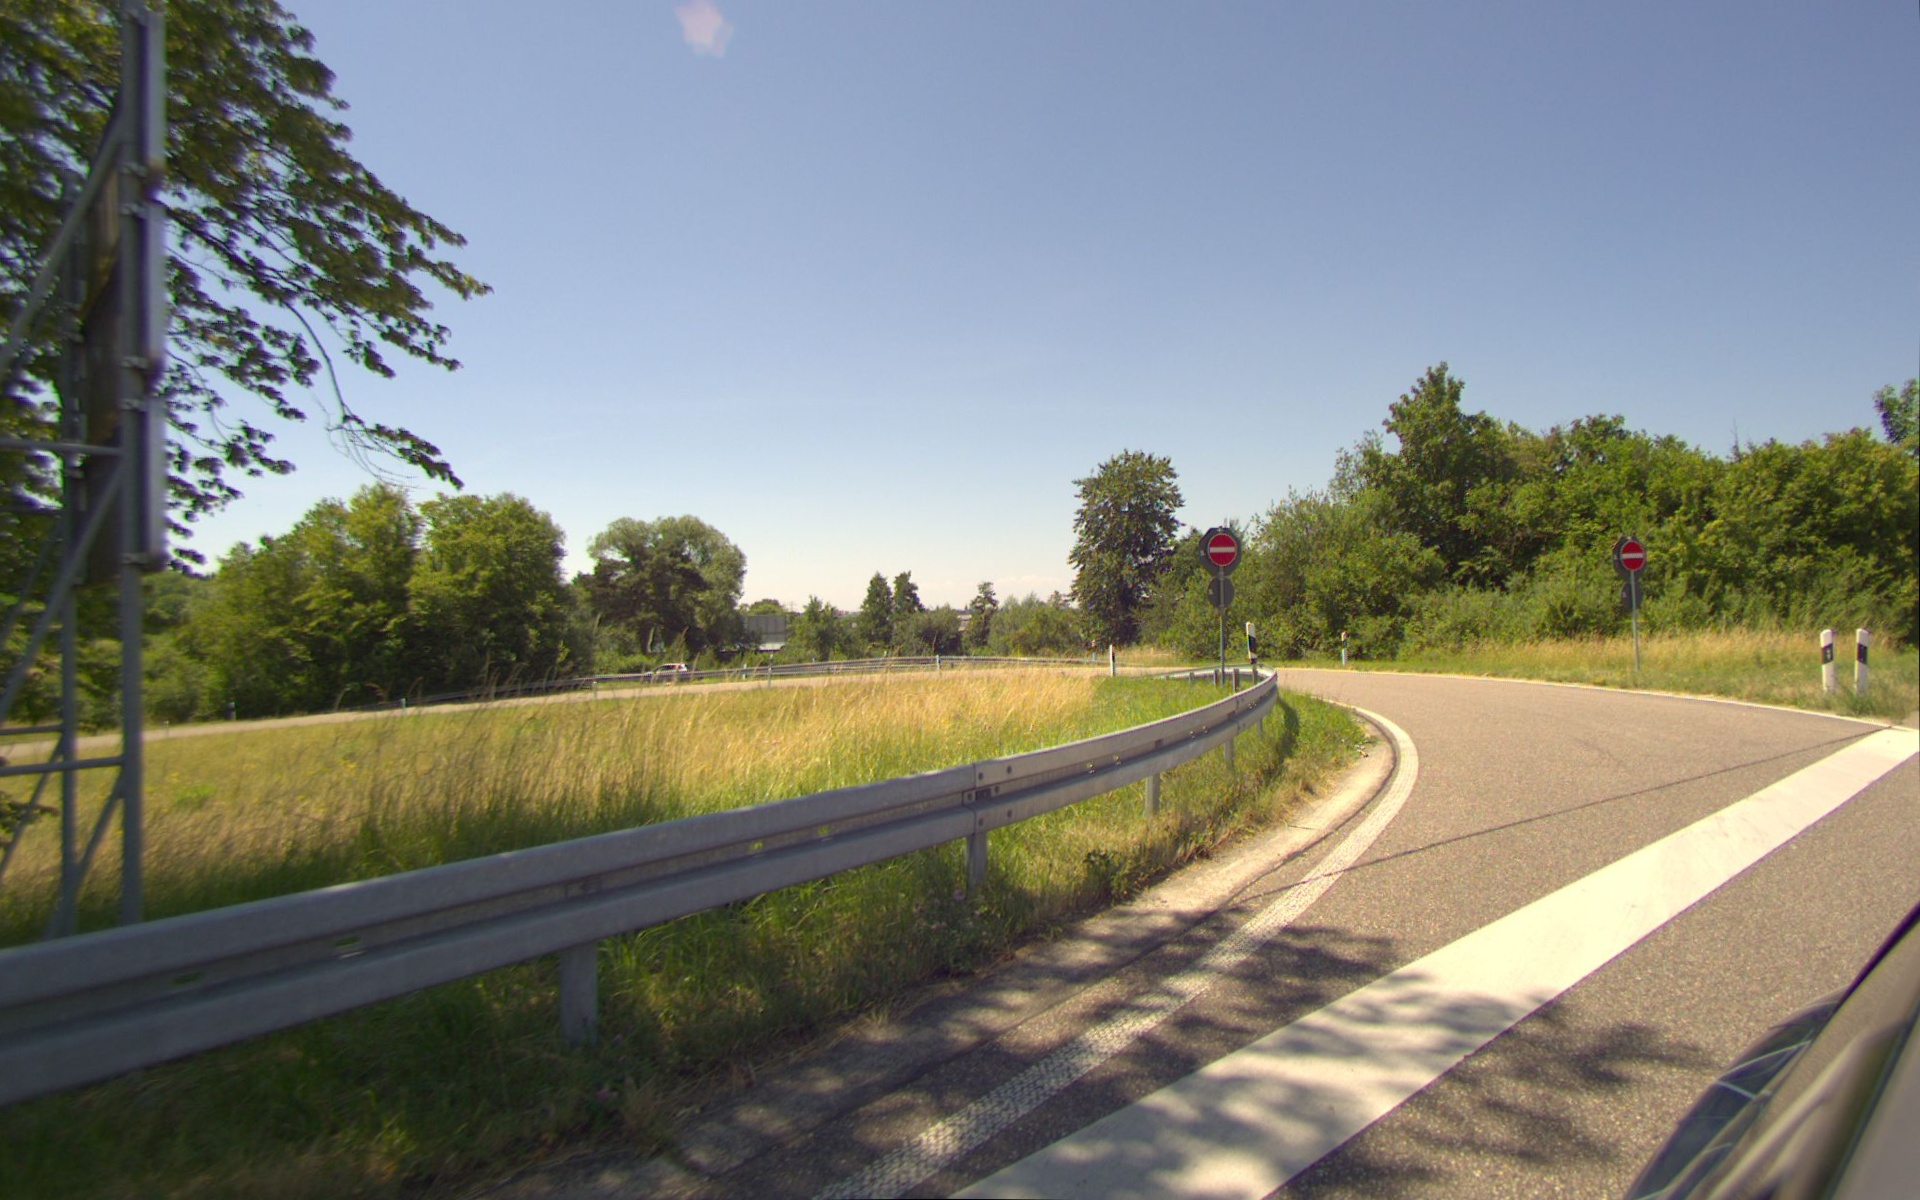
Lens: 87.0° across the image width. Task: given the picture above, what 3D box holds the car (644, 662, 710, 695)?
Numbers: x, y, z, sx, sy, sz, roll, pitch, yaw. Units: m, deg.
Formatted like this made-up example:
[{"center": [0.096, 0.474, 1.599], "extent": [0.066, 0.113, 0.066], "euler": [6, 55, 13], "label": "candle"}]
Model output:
[{"center": [-18.593, 5.165, 66.438], "extent": [4.096, 1.922, 1.903], "euler": [-4, -1, 34], "label": "car"}]
